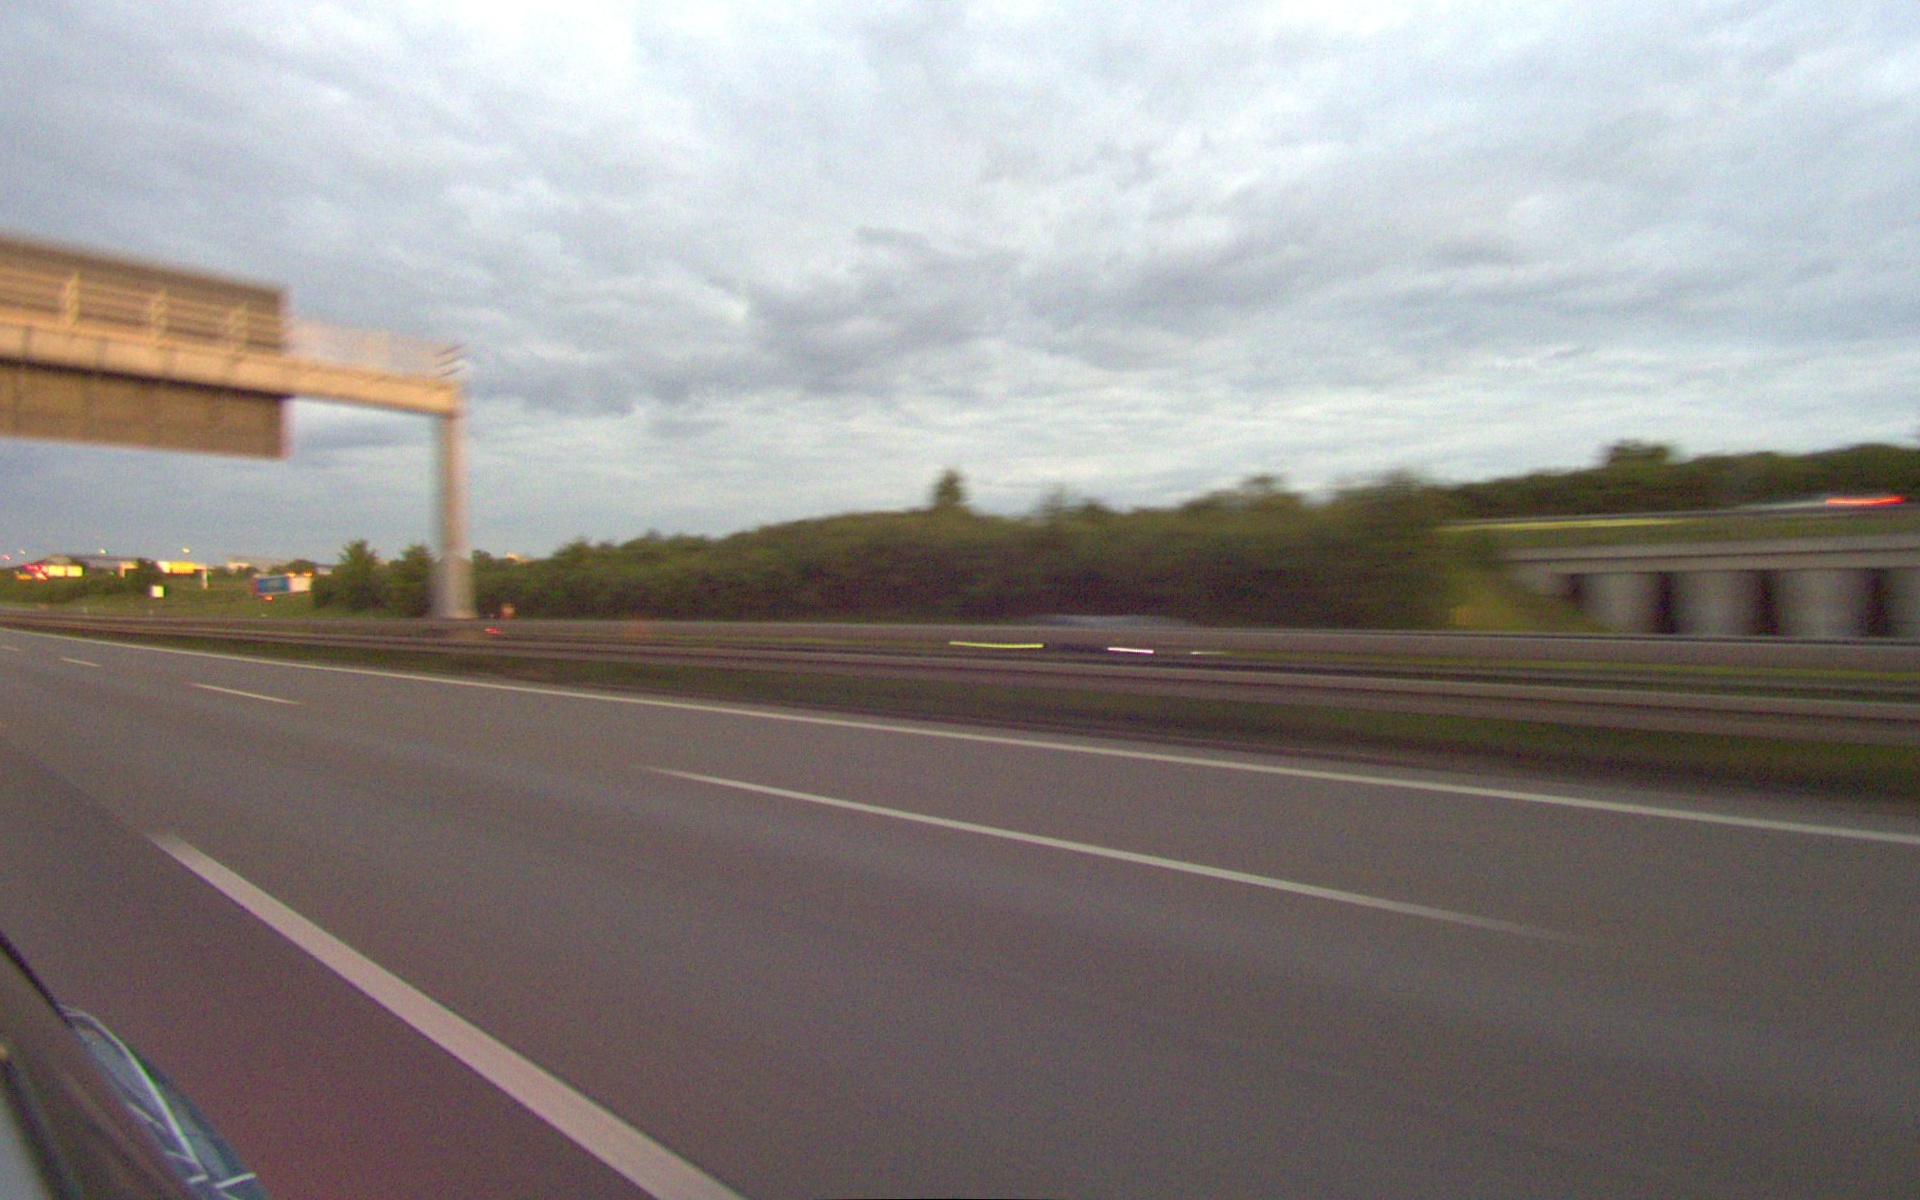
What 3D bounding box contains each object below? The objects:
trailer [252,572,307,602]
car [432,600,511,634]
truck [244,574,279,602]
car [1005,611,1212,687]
[{"bbox_3d":[-100.309,-1.910,149.038,12.467,4.102,2.666,-1,1,36],"label":"trailer"},{"bbox_3d":[-22.508,0.754,46.537,4.428,1.412,1.672,1,3,42],"label":"car"},{"bbox_3d":[-105.604,-1.873,152.892,5.467,4.102,2.666,-1,1,36],"label":"truck"},{"bbox_3d":[3.262,1.031,22.800,4.428,1.412,1.672,1,3,42],"label":"car"}]
